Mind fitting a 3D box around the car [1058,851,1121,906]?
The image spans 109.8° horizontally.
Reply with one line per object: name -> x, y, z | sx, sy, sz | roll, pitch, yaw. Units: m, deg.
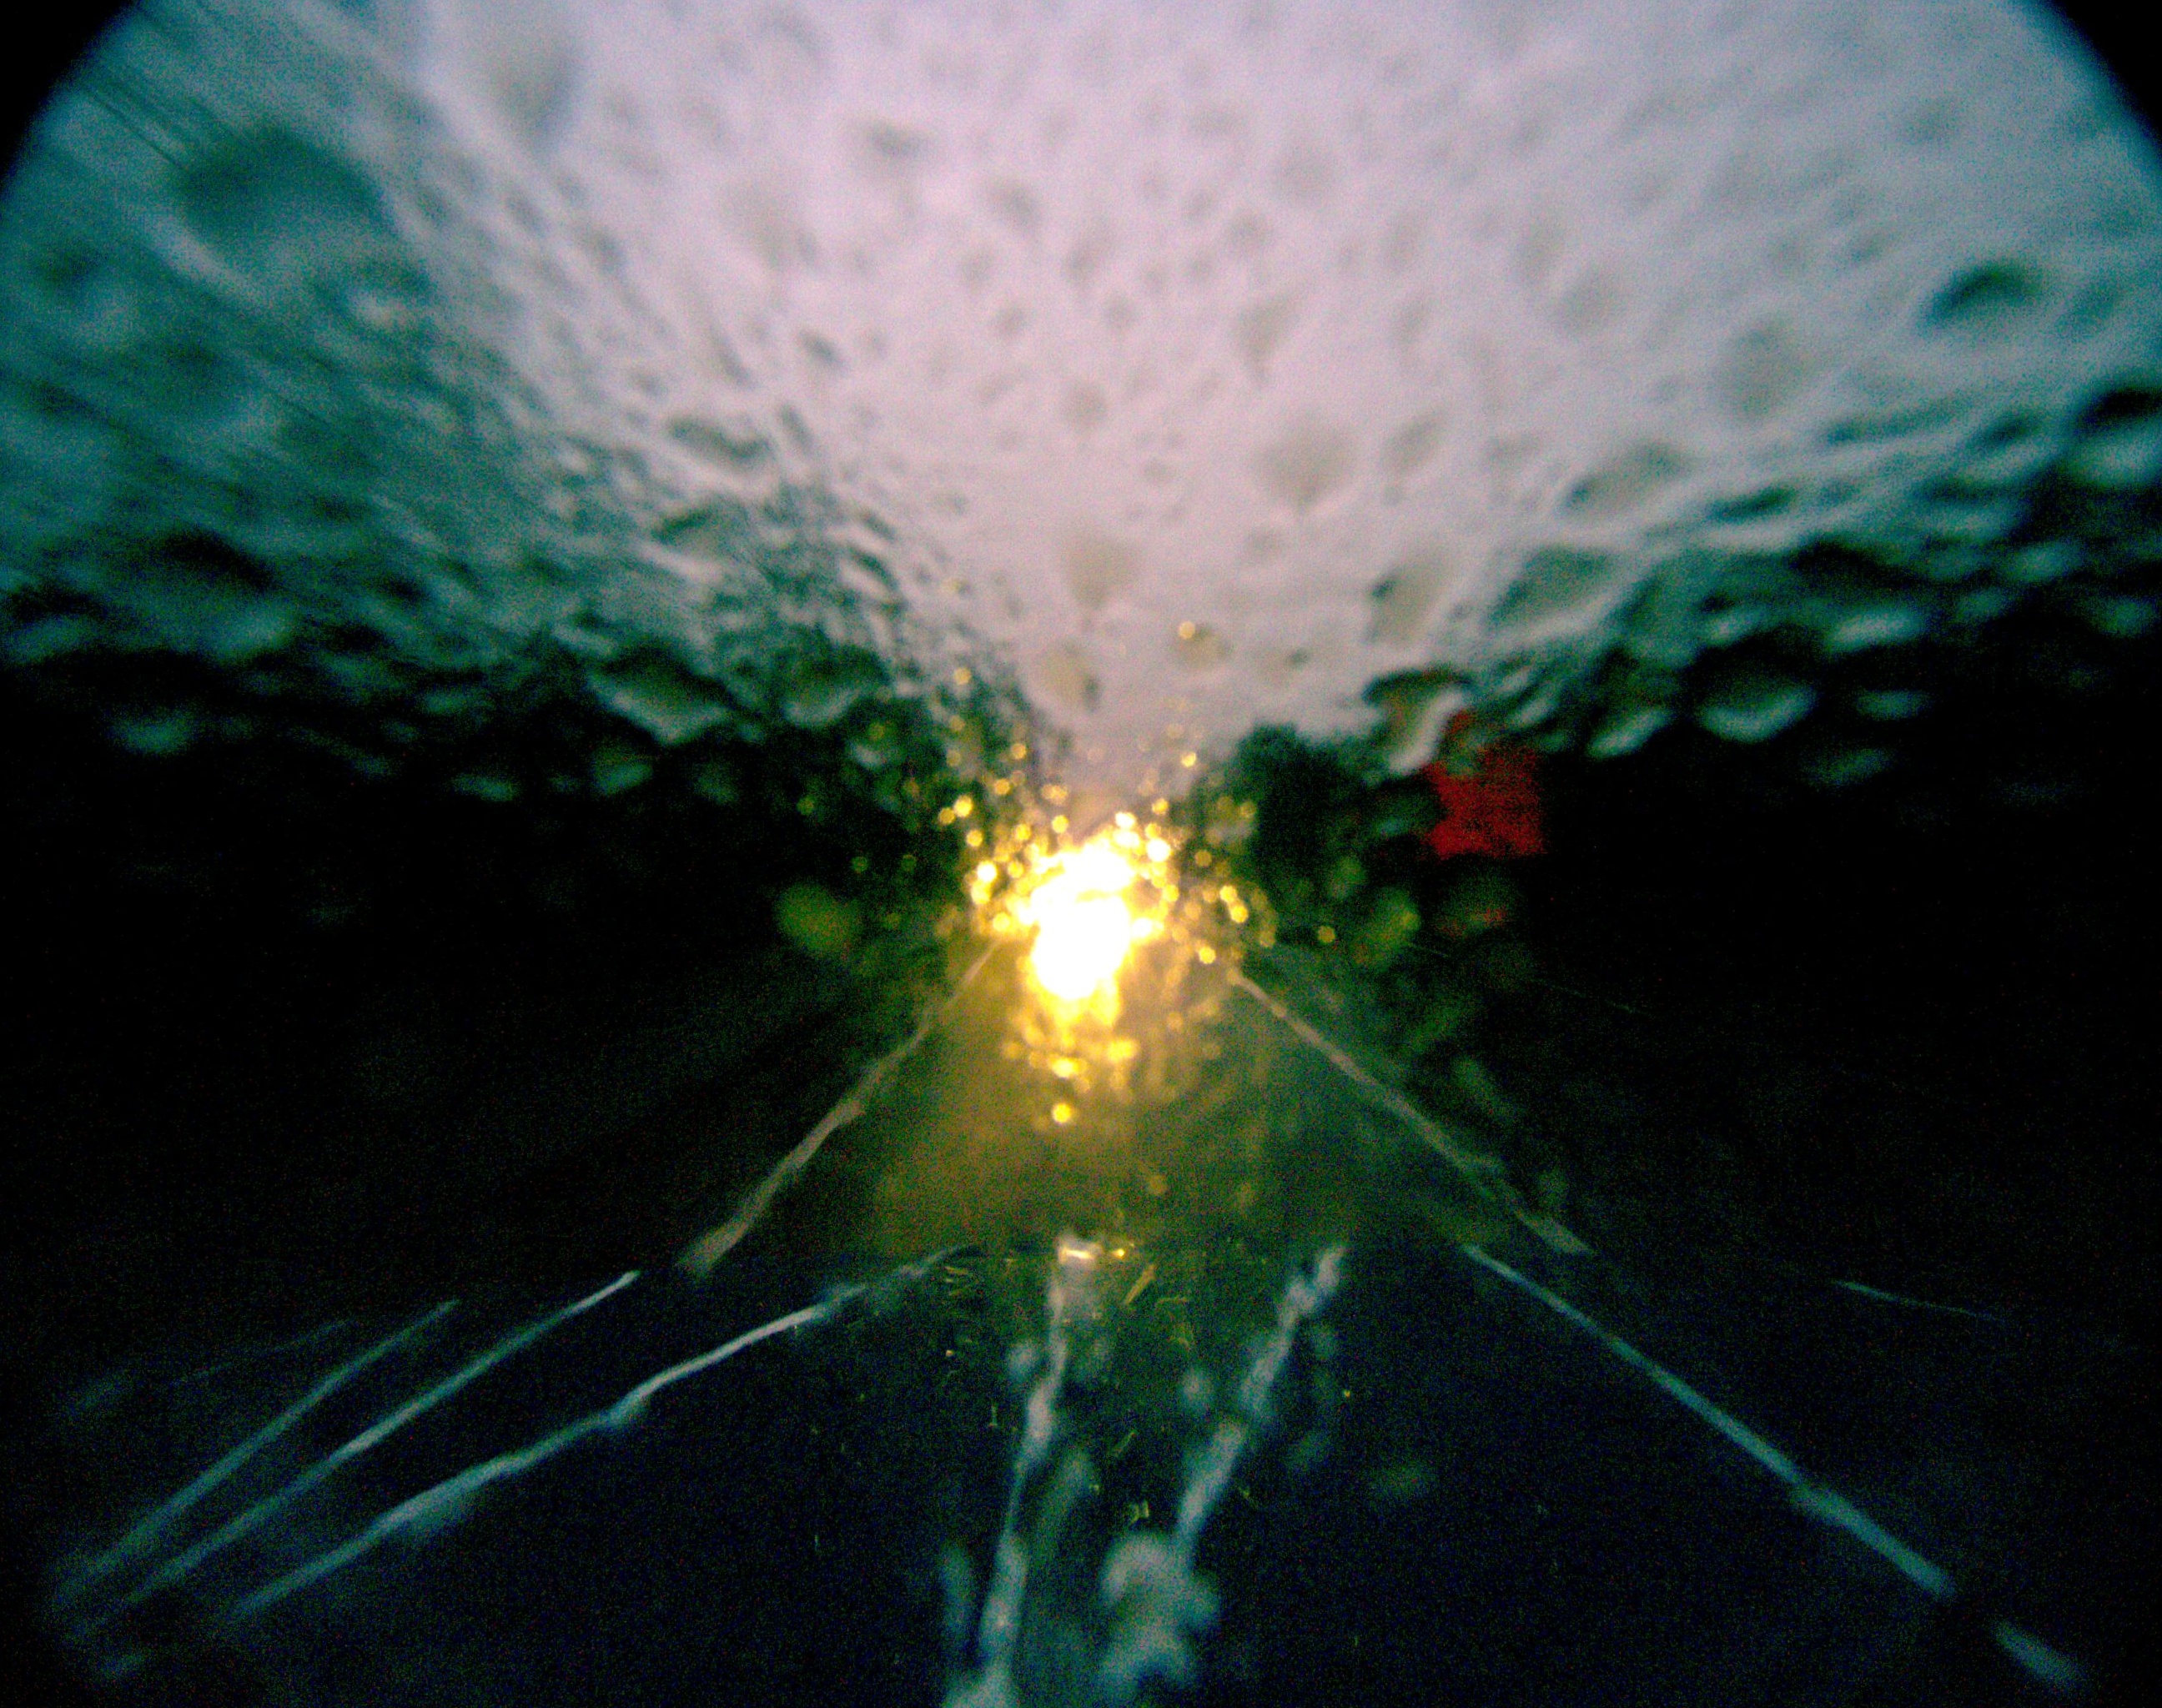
car -> 0.294, 0.781, 26.823 | 1.998, 1.672, 3.999 | -3, 1, 0

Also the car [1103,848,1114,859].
car -> 4.454, -0.095, 122.047 | 1.678, 1.727, 3.837 | -3, 1, 1
